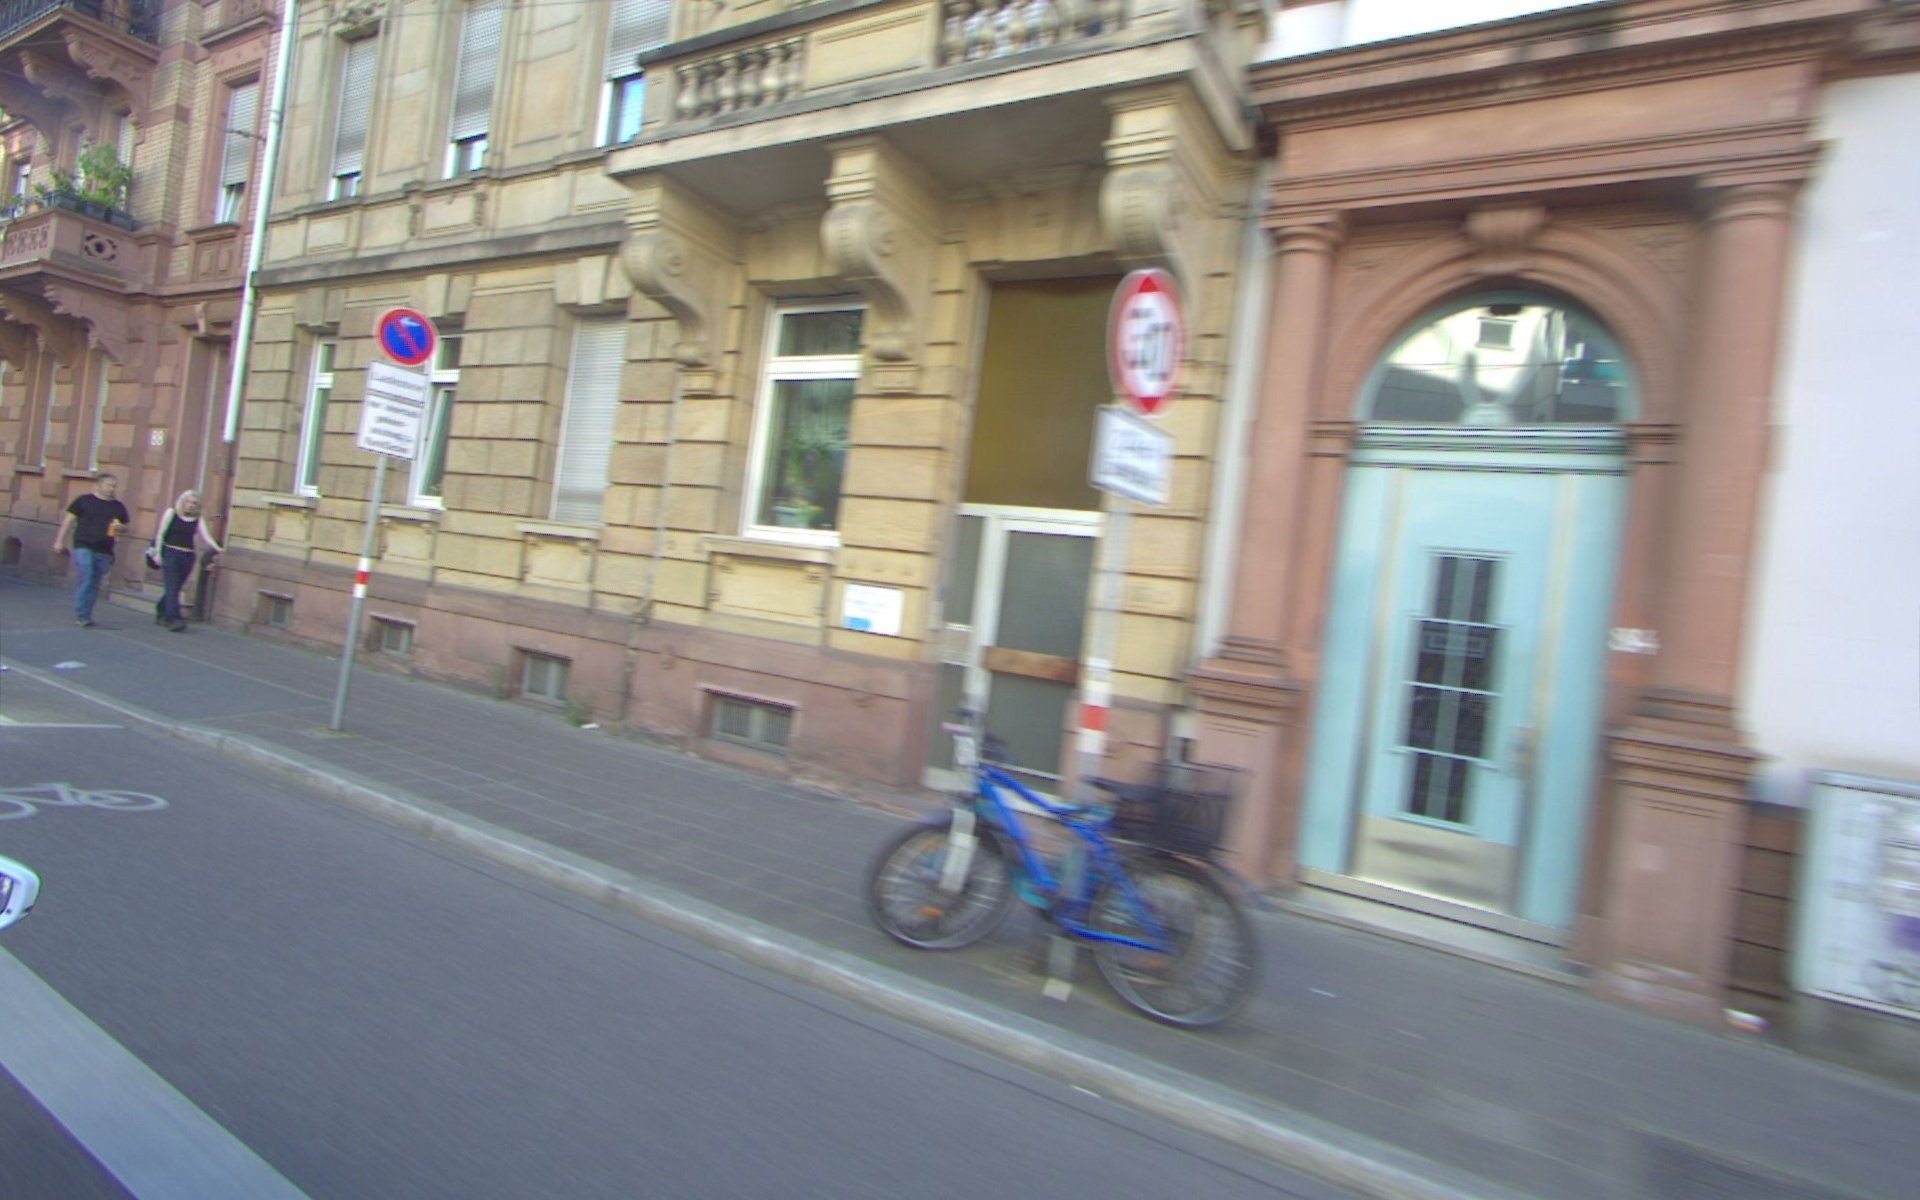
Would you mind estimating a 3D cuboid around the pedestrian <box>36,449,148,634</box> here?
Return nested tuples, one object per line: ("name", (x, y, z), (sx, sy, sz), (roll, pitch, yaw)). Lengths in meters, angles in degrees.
("pedestrian", (-10.188, -0.682, 11.805), (0.809, 2.038, 0.586), (7, 0, 30))

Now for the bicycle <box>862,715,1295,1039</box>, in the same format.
("bicycle", (0.484, 1.123, 4.402), (1.732, 0.959, 0.432), (7, 0, 24))

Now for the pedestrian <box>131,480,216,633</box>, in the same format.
("pedestrian", (-9.685, -0.529, 12.392), (0.596, 1.806, 0.553), (7, 2, 30))

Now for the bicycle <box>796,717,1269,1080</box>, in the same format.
("bicycle", (0.250, 1.084, 3.992), (1.732, 0.959, 0.432), (7, 0, 24))
